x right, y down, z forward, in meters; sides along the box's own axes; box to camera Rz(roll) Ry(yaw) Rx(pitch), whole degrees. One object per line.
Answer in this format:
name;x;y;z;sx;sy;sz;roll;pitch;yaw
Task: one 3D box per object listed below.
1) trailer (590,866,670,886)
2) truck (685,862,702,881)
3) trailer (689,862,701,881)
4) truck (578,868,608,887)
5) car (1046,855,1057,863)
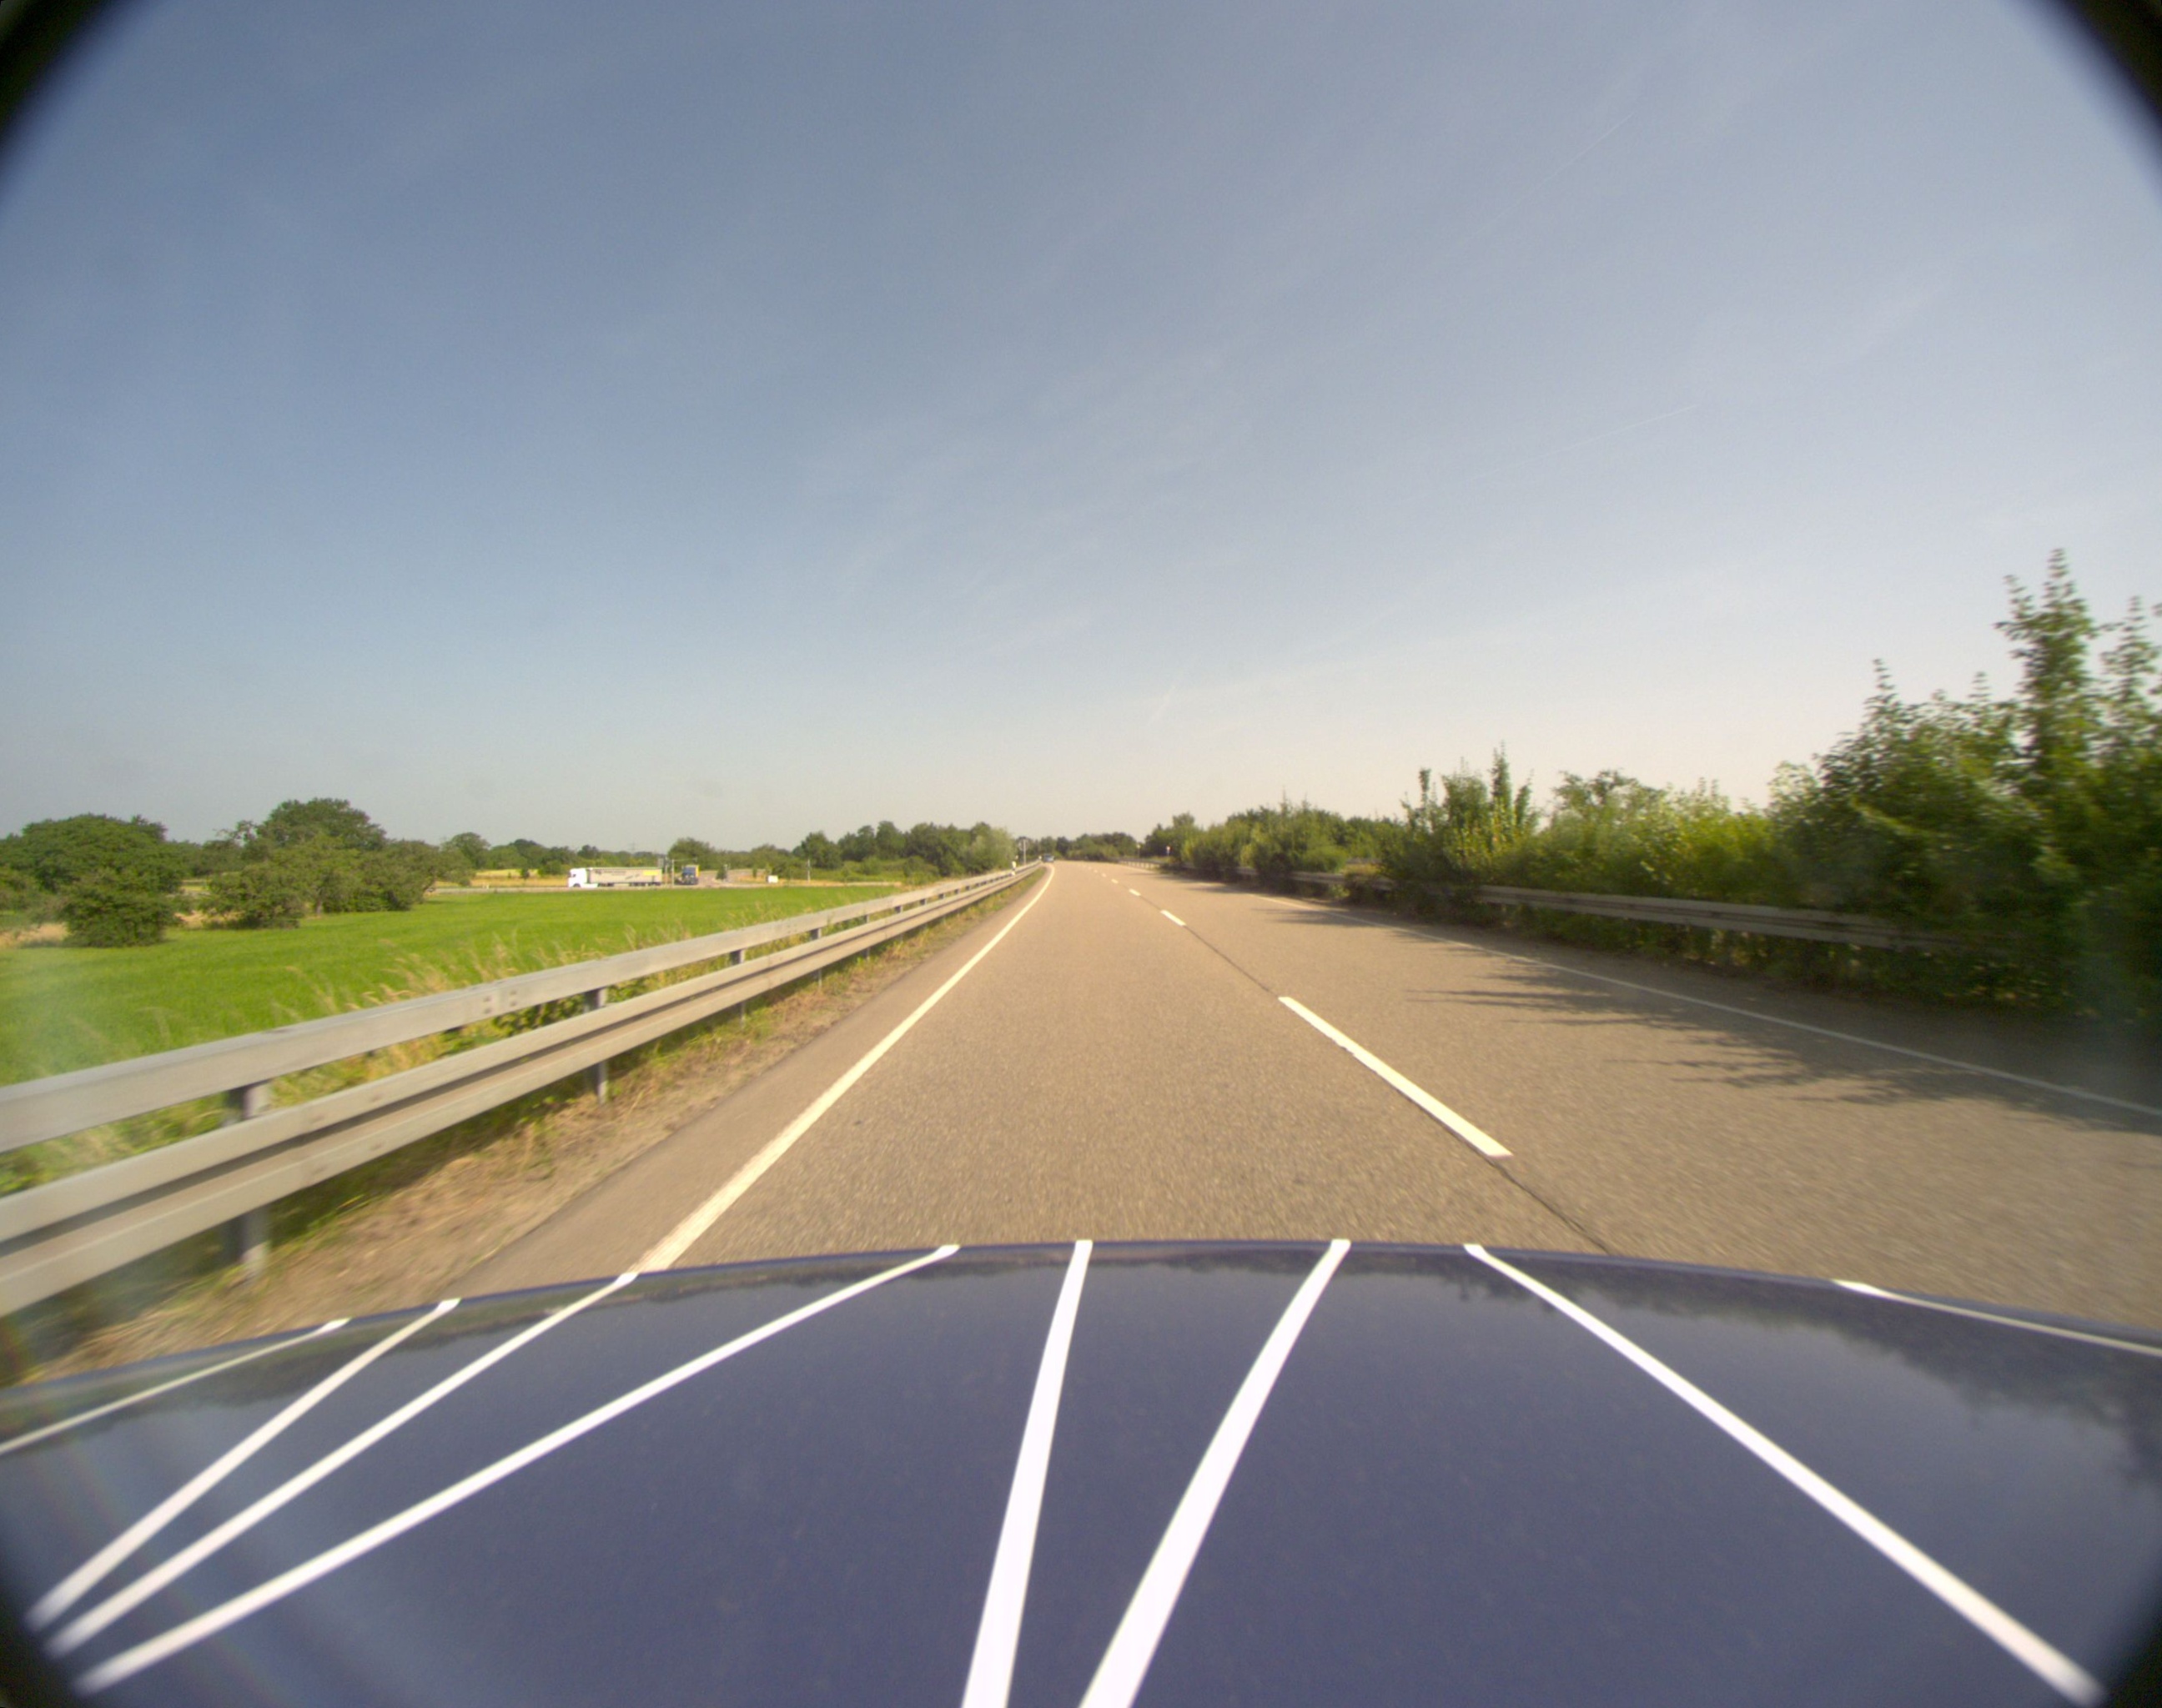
trailer;-92.941;4.524;156.946;2.102;3.631;13.960;-1;0;43
truck;-87.348;3.889;171.228;2.263;4.145;4.366;-1;0;-12
trailer;-90.121;3.932;177.586;2.265;4.145;14.394;-1;0;-26
truck;-97.622;4.618;152.096;4.951;3.656;2.103;-1;0;-32
car;-5.435;0.909;138.971;1.703;1.474;3.598;-3;-1;-8
